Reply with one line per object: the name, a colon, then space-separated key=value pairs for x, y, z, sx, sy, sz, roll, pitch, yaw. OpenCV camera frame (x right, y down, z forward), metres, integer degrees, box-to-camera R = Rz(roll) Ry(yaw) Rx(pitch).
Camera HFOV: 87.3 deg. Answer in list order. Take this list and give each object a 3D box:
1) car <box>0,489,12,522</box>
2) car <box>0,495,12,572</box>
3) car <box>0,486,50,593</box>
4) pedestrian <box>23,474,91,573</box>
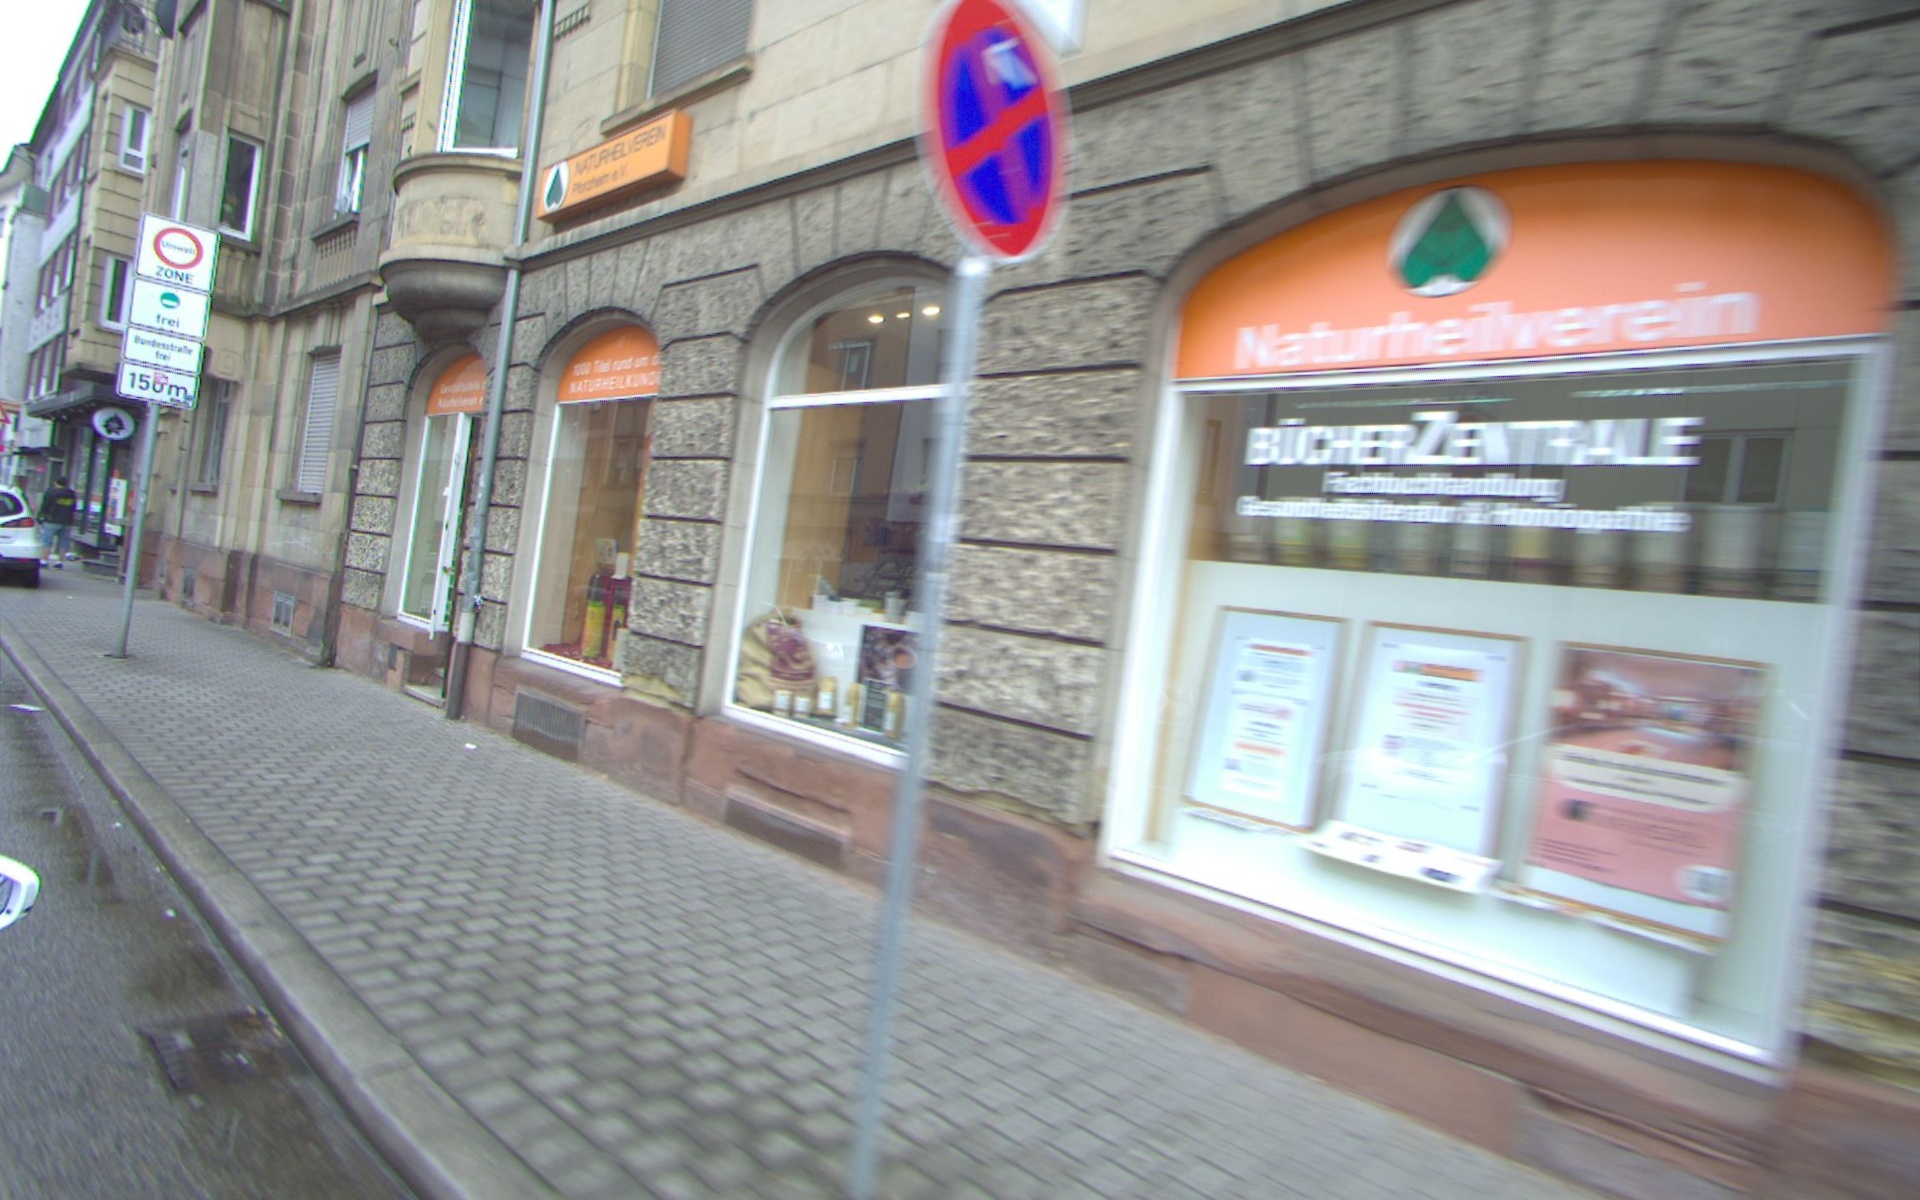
car: x=-50.585 y=-5.067 z=50.612 sx=1.906 sy=1.593 sz=3.827 roll=6 pitch=-1 yaw=35
car: x=-19.876 y=-1.492 z=19.493 sx=4.254 sy=1.386 sz=1.742 roll=7 pitch=0 yaw=42
car: x=-15.783 y=-1.098 z=15.916 sx=4.389 sy=1.512 sz=1.644 roll=6 pitch=-1 yaw=43
pedestrian: x=-17.560 y=-1.485 z=19.559 sx=0.784 sy=1.801 sz=0.743 roll=7 pitch=0 yaw=39
